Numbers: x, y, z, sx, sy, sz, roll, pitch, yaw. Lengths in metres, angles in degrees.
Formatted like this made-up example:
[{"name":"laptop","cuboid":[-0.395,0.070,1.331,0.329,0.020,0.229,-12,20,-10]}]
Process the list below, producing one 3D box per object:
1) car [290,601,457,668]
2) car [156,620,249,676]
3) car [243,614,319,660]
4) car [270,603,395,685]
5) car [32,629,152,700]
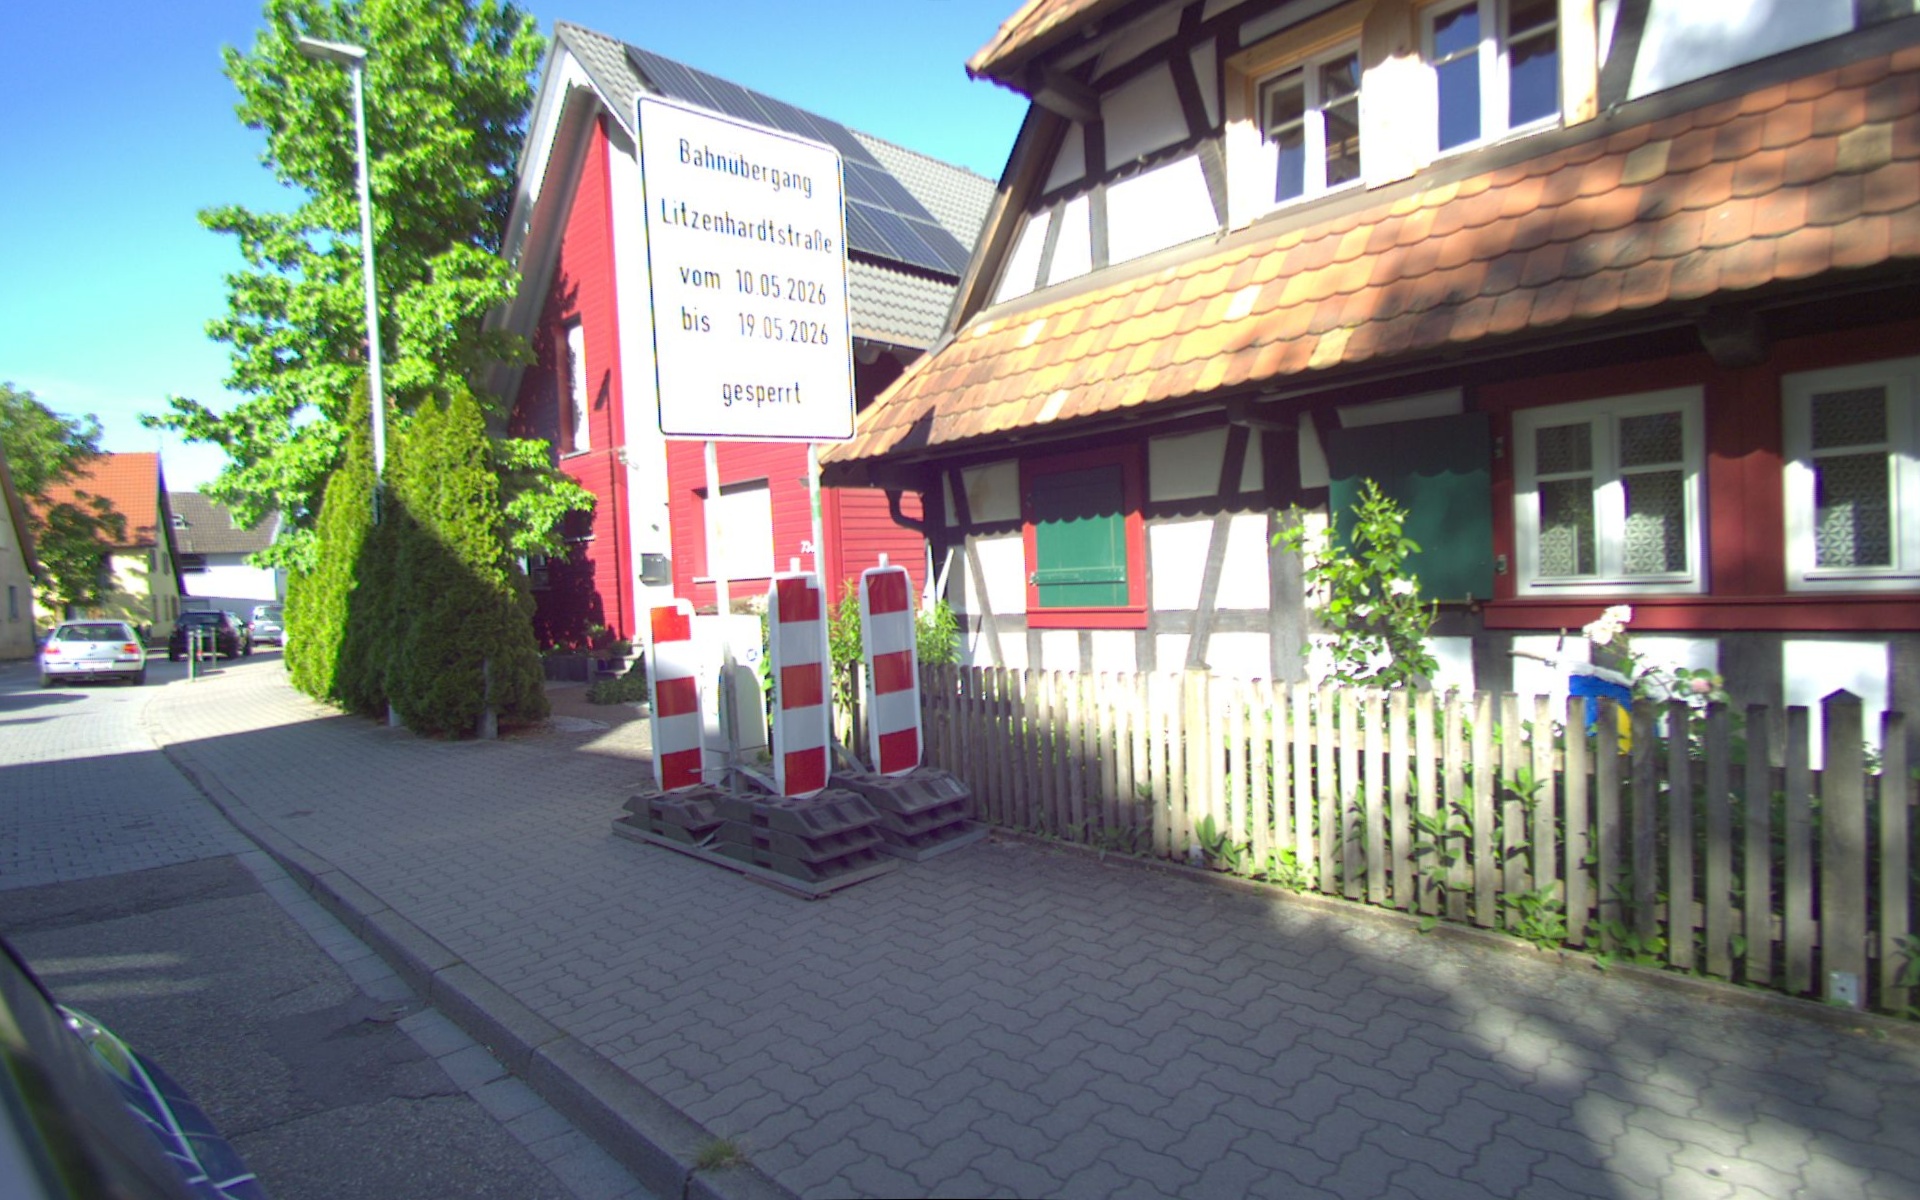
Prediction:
[{"name":"car","cuboid":[-17.567,0.994,30.387,3.940,1.600,2.003,-5,2,-42]},{"name":"car","cuboid":[-25.151,1.552,33.748,1.806,1.683,4.366,-1,-1,-28]},{"name":"car","cuboid":[-29.489,1.579,44.099,1.806,1.803,4.367,-3,0,-21]},{"name":"car","cuboid":[-14.456,0.927,23.556,1.792,1.607,4.460,-4,1,-24]},{"name":"car","cuboid":[-19.079,1.351,22.393,1.648,1.413,3.901,1,-2,-36]}]
